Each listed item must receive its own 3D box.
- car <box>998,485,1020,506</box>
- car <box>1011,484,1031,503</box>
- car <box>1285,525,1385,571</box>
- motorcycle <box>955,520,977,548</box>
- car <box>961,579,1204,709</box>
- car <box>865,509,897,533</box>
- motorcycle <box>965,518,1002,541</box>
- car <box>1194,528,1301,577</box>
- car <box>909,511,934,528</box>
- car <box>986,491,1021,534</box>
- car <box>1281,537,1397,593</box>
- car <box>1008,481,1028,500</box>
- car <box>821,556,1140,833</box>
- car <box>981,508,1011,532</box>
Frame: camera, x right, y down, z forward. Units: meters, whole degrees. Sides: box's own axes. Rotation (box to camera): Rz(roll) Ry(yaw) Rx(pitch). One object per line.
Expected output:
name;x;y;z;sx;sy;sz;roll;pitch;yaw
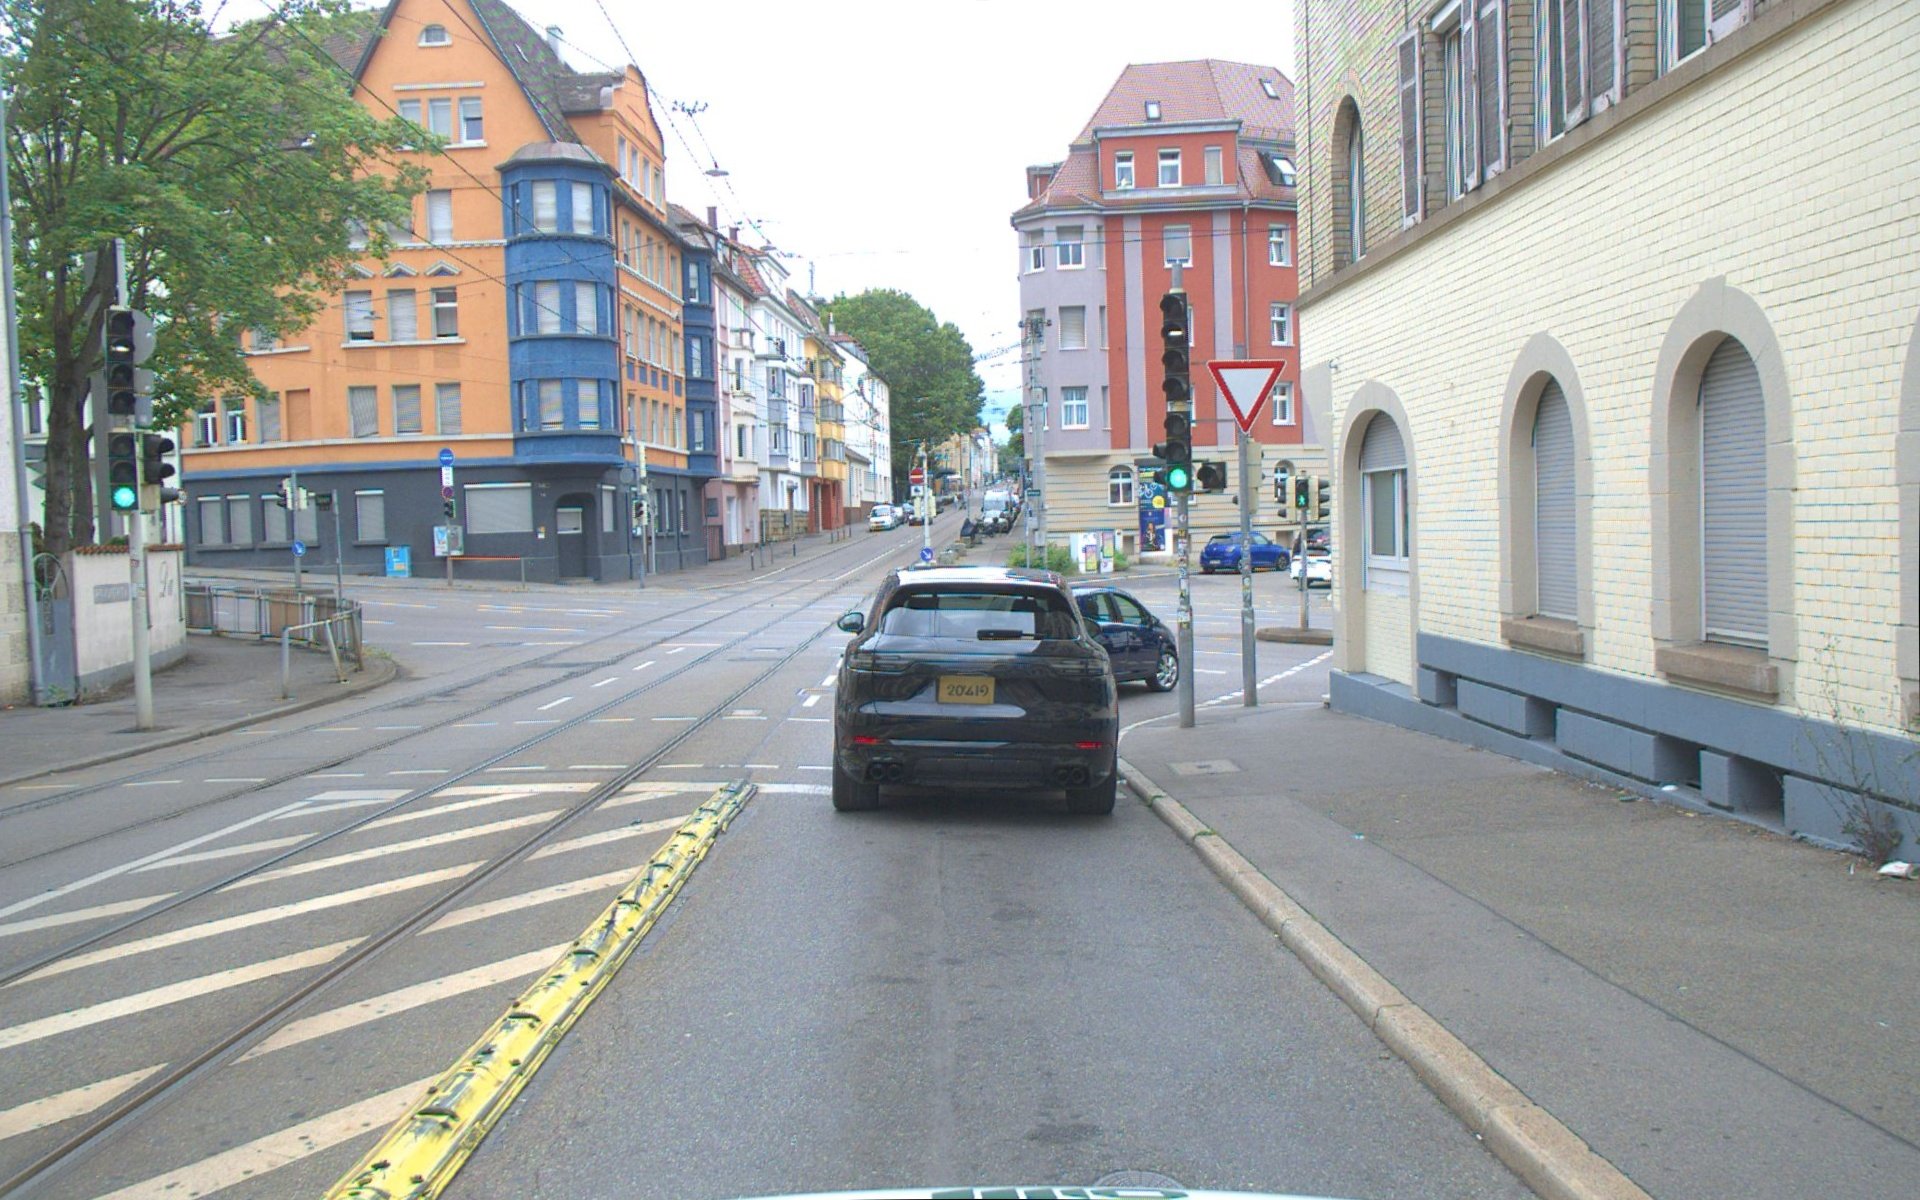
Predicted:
car;5.296;-11.209;178.043;2.220;2.221;4.773;1;3;4
car;7.136;-12.353;192.376;2.220;2.221;4.773;1;3;4
car;14.970;-2.102;65.949;4.106;1.561;1.890;-5;6;-41
motorcycle;0.301;-3.516;87.965;0.843;1.348;2.182;-7;4;-5
car;1.719;0.505;22.113;1.723;1.472;3.744;4;3;30
car;-5.879;-5.913;123.588;1.952;1.721;4.003;1;3;4
motorcycle;1.387;-4.186;98.511;2.135;1.349;0.699;0;3;-7
car;10.825;-1.817;62.128;4.108;1.561;1.889;-5;6;-42
car;-3.021;-6.358;130.610;1.650;1.349;3.665;1;3;4
car;3.111;-6.238;117.469;2.220;2.940;4.773;1;3;4
car;12.528;-1.202;54.573;1.887;1.561;4.113;4;6;44
car;6.992;-13.170;198.759;2.220;2.221;4.773;1;3;4
car;0.245;0.535;12.581;1.982;1.670;4.358;1;2;3
car;2.443;-5.412;111.741;1.801;1.595;3.822;1;3;4
